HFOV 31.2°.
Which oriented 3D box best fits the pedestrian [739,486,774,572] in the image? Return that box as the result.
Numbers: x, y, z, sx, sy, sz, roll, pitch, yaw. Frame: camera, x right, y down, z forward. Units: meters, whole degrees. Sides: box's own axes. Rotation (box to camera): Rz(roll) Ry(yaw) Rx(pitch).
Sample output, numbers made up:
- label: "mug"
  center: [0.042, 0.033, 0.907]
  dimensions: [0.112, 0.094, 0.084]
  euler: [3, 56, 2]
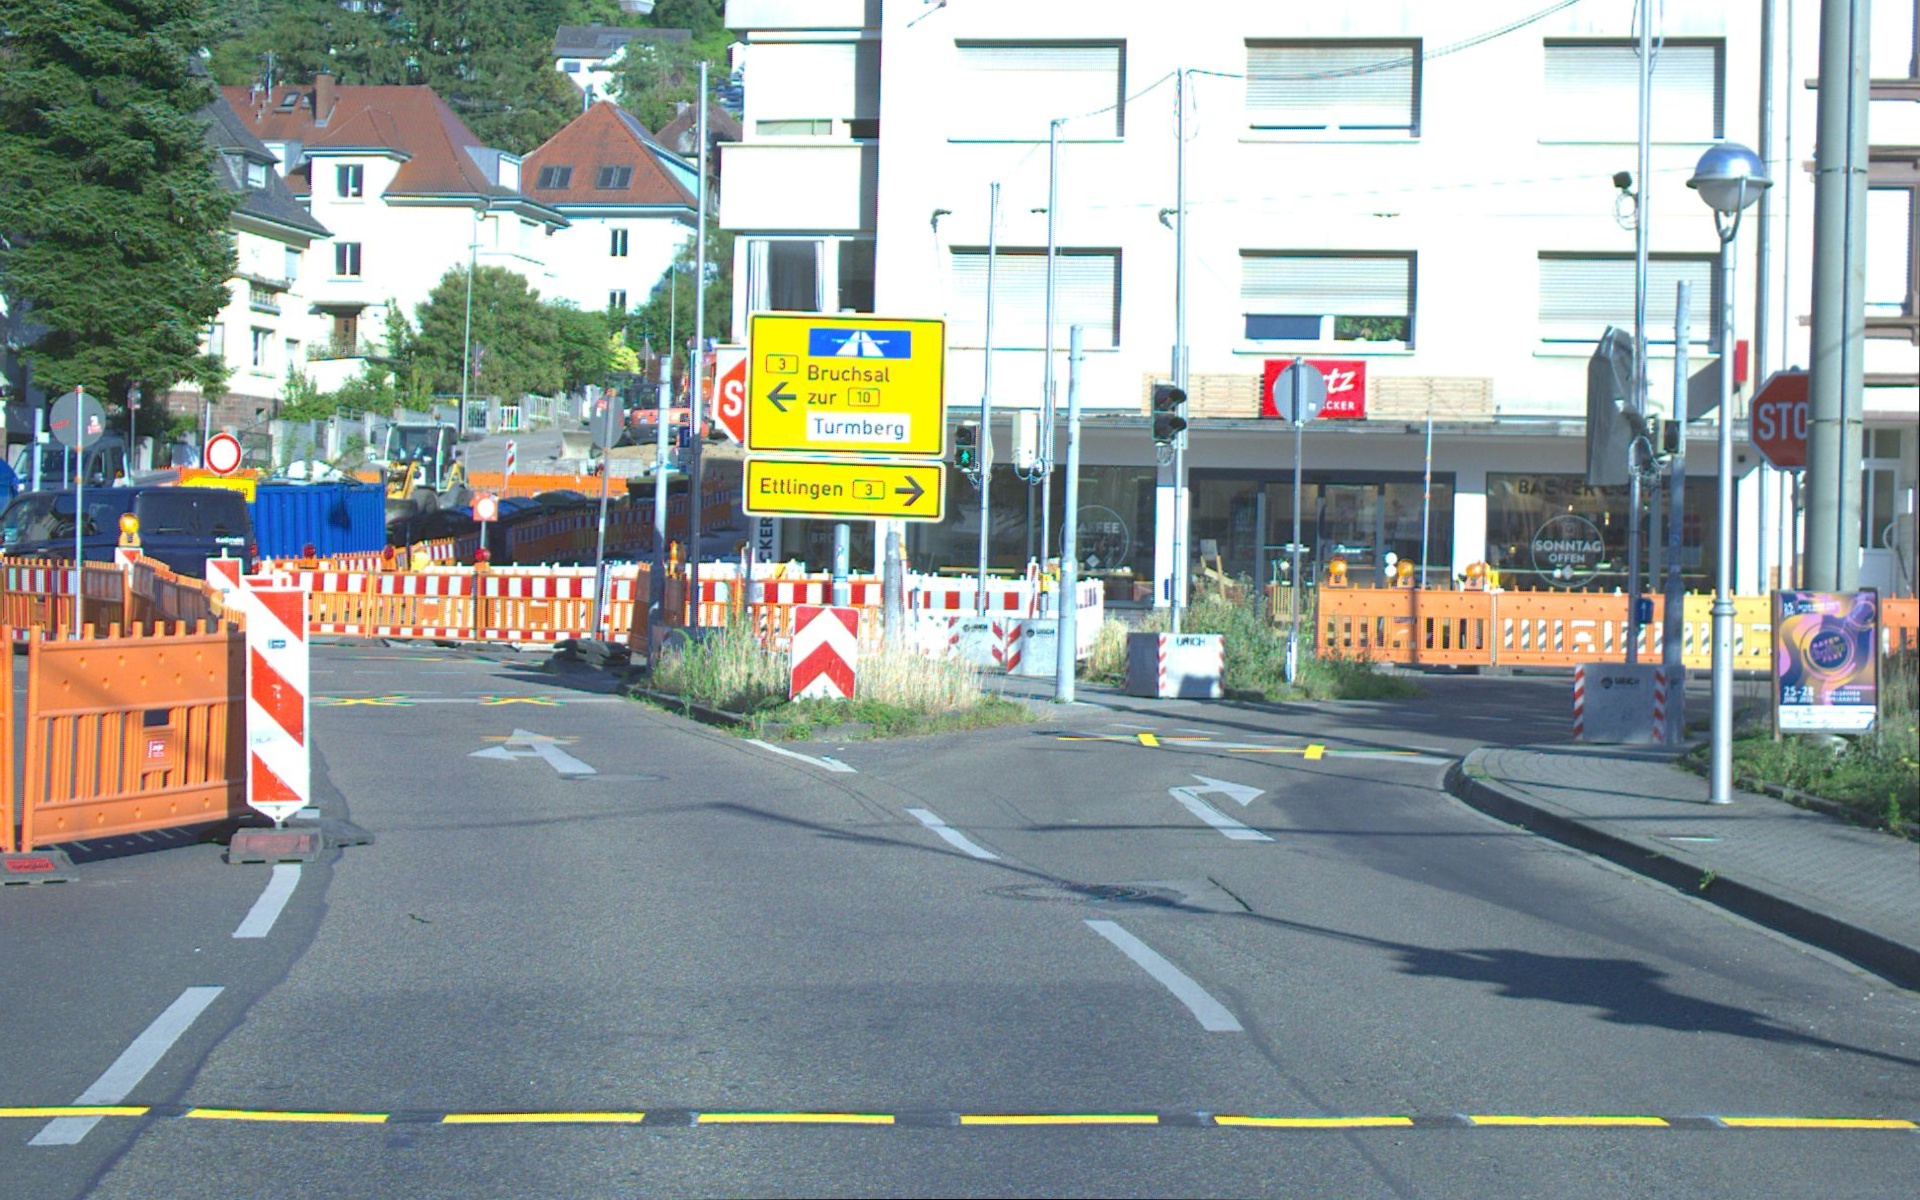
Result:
- label: "pedestrian"
  center: [-4.206, -1.466, 71.139]
  dimensions: [0.640, 1.754, 0.718]
  euler: [1, 1, -1]

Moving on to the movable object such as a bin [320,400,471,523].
- label: "movable object such as a bin"
  center: [-13.006, -3.174, 79.474]
  dimensions: [2.191, 2.681, 3.998]
  euler: [1, 1, 10]

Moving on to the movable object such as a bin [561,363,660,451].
- label: "movable object such as a bin"
  center: [-11.549, -6.370, 113.744]
  dimensions: [2.191, 2.681, 3.998]
  euler: [1, 1, 10]

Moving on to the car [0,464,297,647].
- label: "car"
  center: [-10.344, -0.592, 43.060]
  dimensions: [2.062, 2.006, 5.000]
  euler: [1, 3, -35]

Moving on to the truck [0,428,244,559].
- label: "truck"
  center: [-17.222, -2.055, 68.655]
  dimensions: [2.357, 2.407, 9.147]
  euler: [1, 1, 11]
